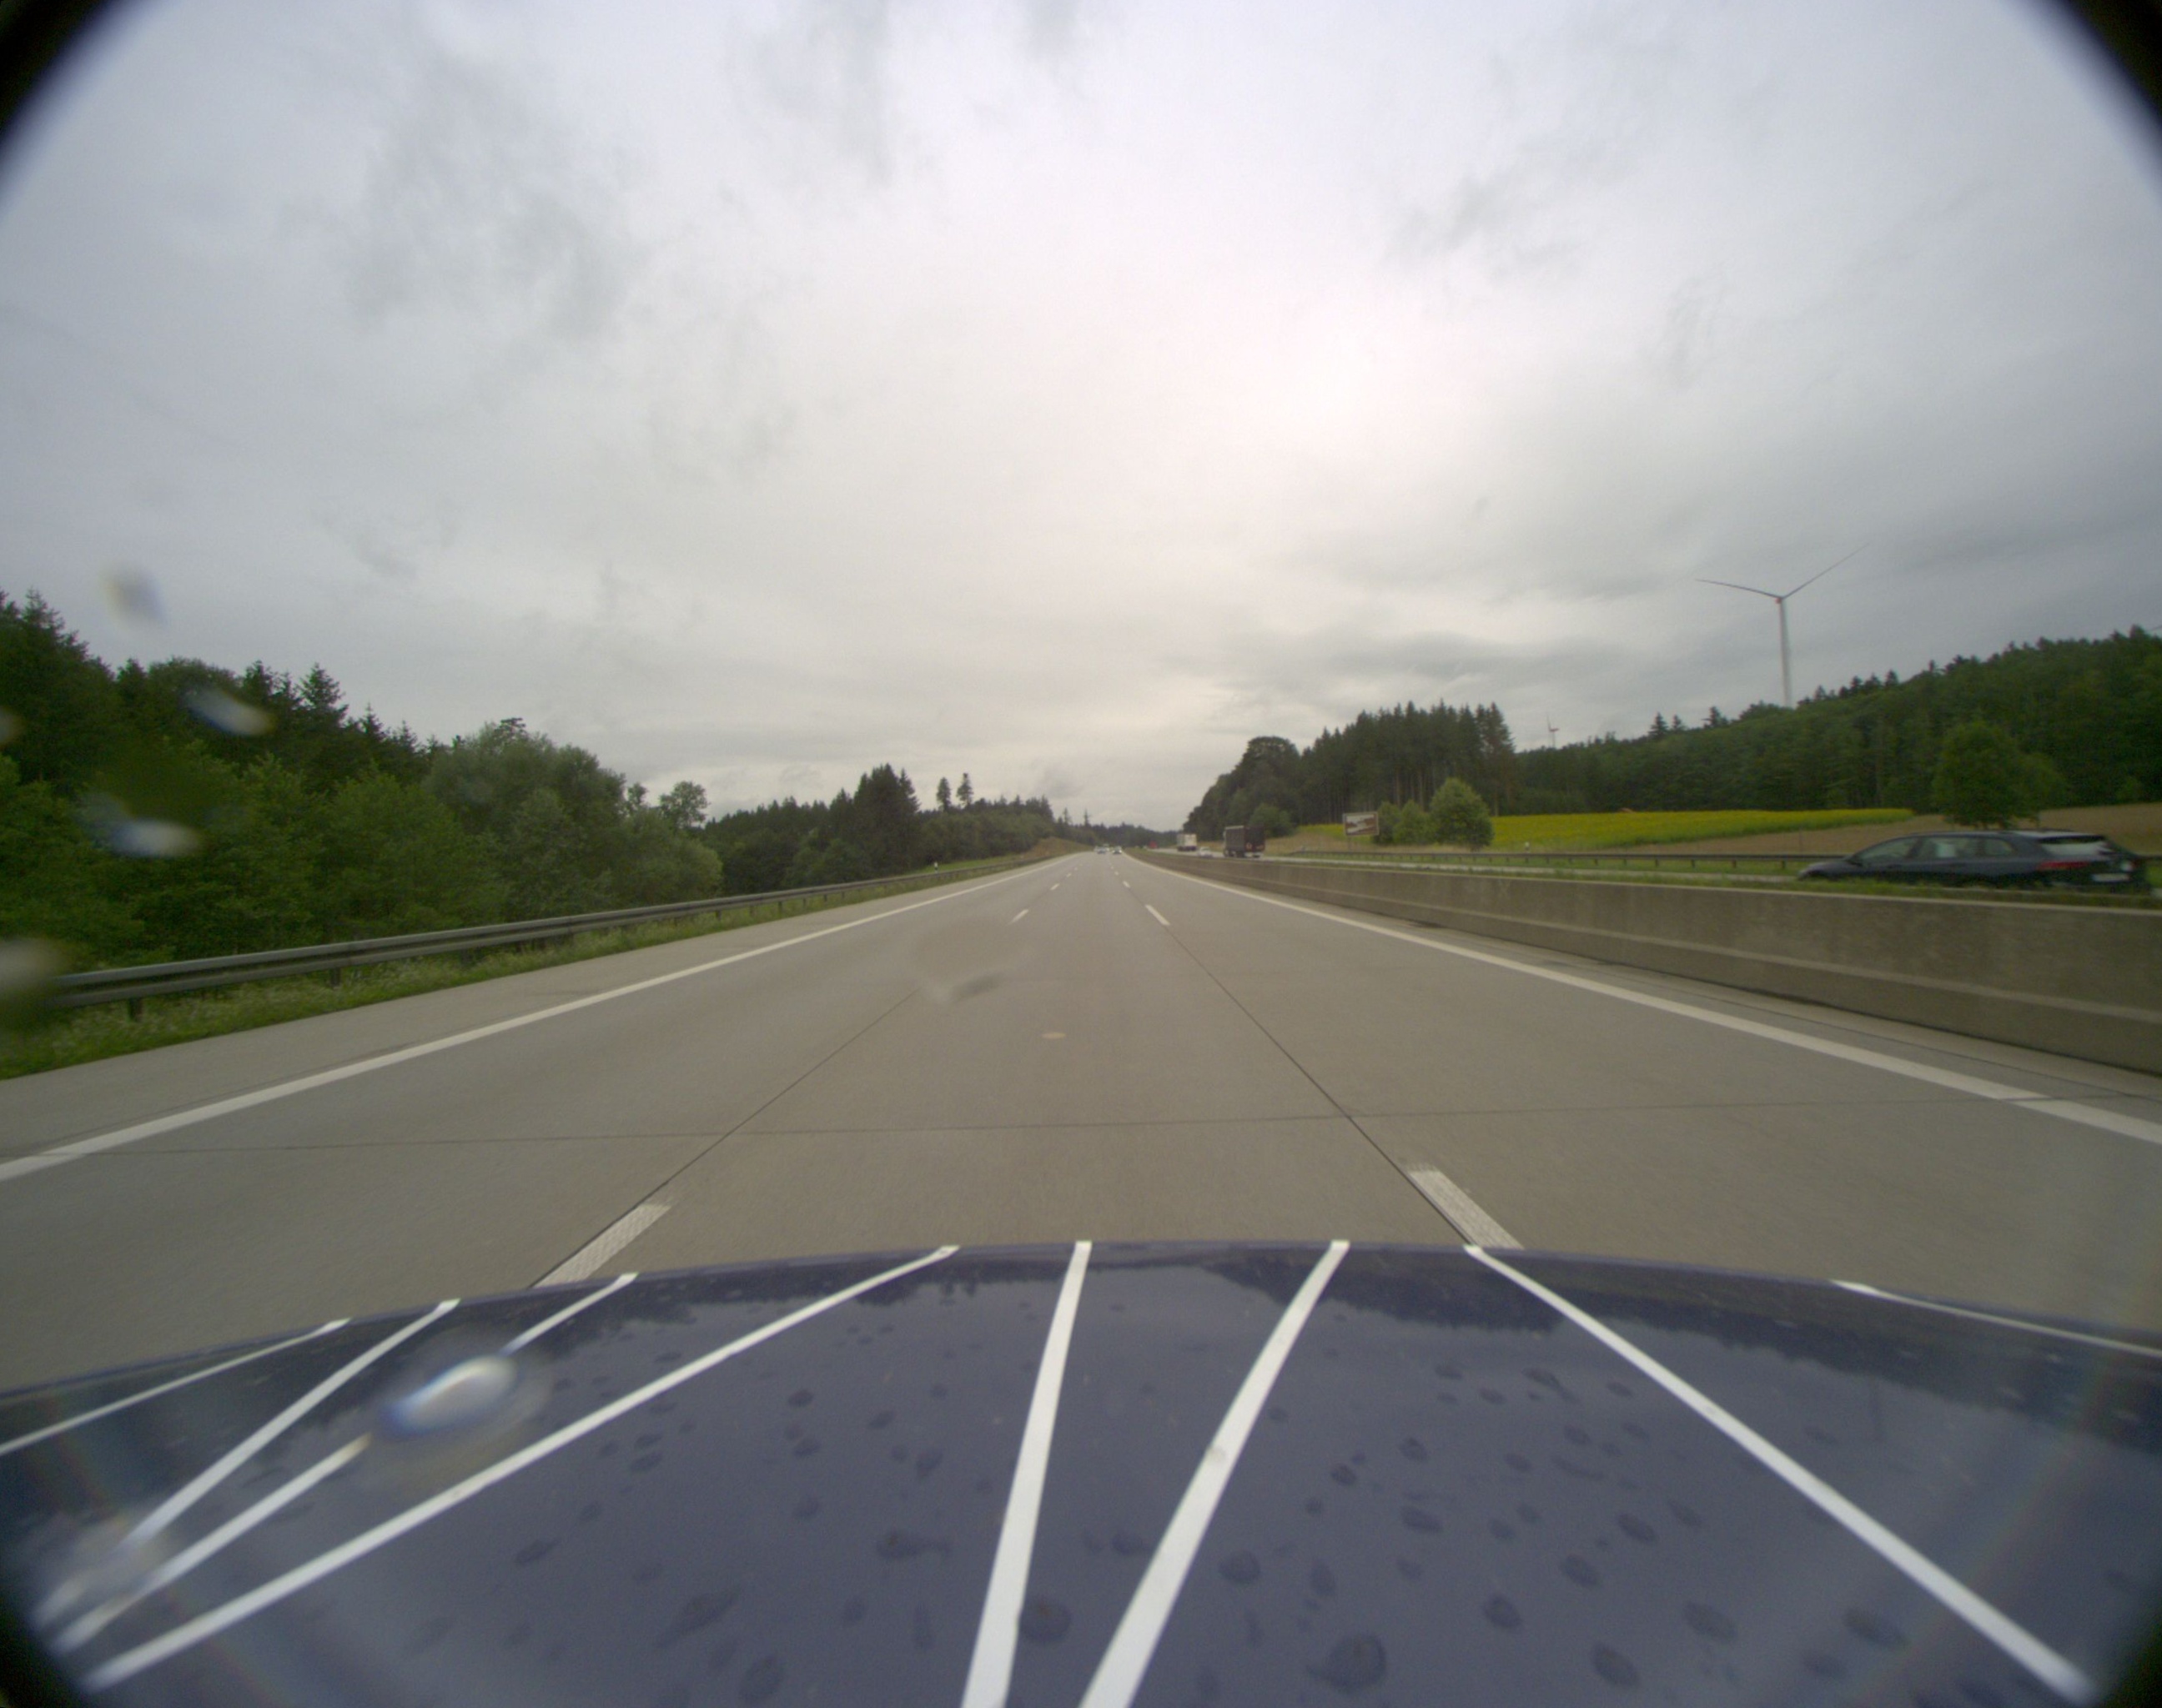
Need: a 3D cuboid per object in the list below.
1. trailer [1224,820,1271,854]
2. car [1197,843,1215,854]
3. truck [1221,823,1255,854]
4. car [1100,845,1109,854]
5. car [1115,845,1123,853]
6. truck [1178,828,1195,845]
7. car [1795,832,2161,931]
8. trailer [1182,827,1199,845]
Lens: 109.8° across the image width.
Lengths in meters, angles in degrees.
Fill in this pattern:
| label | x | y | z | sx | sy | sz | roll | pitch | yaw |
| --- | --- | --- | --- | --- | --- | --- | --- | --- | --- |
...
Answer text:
| label | x | y | z | sx | sy | sz | roll | pitch | yaw |
| --- | --- | --- | --- | --- | --- | --- | --- | --- | --- |
| trailer | 21.781 | -2.111 | 100.183 | 3.243 | 4.029 | 14.130 | -2 | 1 | 1 |
| car | 17.875 | -0.804 | 108.731 | 1.788 | 1.459 | 4.372 | -2 | 0 | 1 |
| truck | 21.918 | -2.157 | 106.293 | 3.220 | 4.034 | 7.165 | -2 | 1 | 1 |
| car | 5.926 | -1.162 | 191.423 | 2.213 | 2.002 | 4.834 | -3 | 0 | 0 |
| car | 8.454 | -1.096 | 169.701 | 1.766 | 1.455 | 4.001 | -2 | -1 | 2 |
| truck | 24.756 | -4.063 | 178.852 | 2.819 | 3.751 | 11.350 | -2 | 1 | 3 |
| car | 15.581 | 0.383 | 13.327 | 1.852 | 1.368 | 4.436 | -3 | 1 | -1 |
| trailer | 24.362 | -3.908 | 169.275 | 2.825 | 3.761 | 7.716 | -2 | 1 | 2 |
